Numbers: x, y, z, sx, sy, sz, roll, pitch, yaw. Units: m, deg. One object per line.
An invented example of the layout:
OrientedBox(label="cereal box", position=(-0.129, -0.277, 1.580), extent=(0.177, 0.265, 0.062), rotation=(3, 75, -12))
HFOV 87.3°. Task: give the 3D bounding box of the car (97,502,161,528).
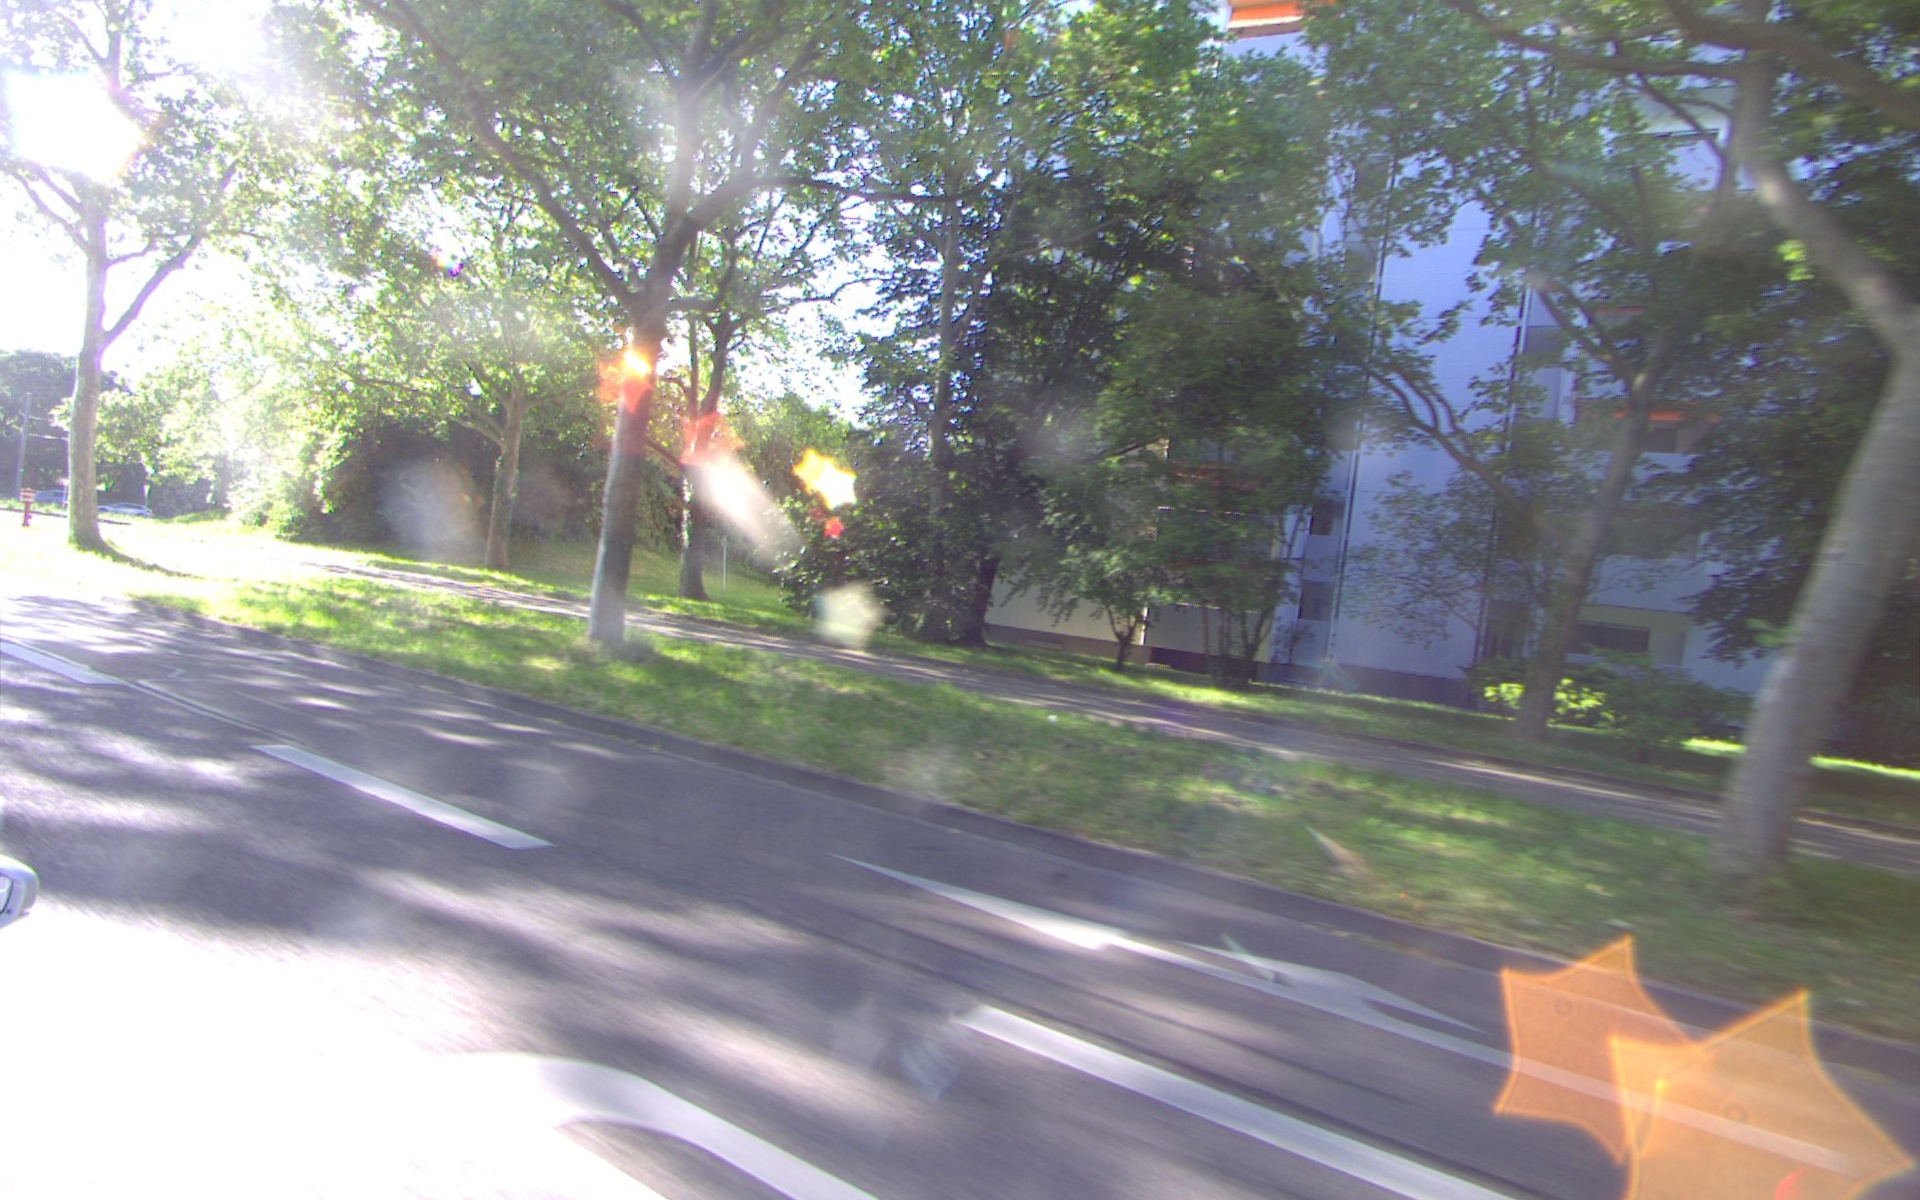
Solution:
OrientedBox(label="car", position=(-72.168, -7.374, 87.432), extent=(3.962, 1.512, 1.846), rotation=(9, -2, -33))

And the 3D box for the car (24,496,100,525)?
OrientedBox(label="car", position=(-73.865, -7.336, 82.821), extent=(4.326, 1.576, 1.856), rotation=(9, -2, -34))
